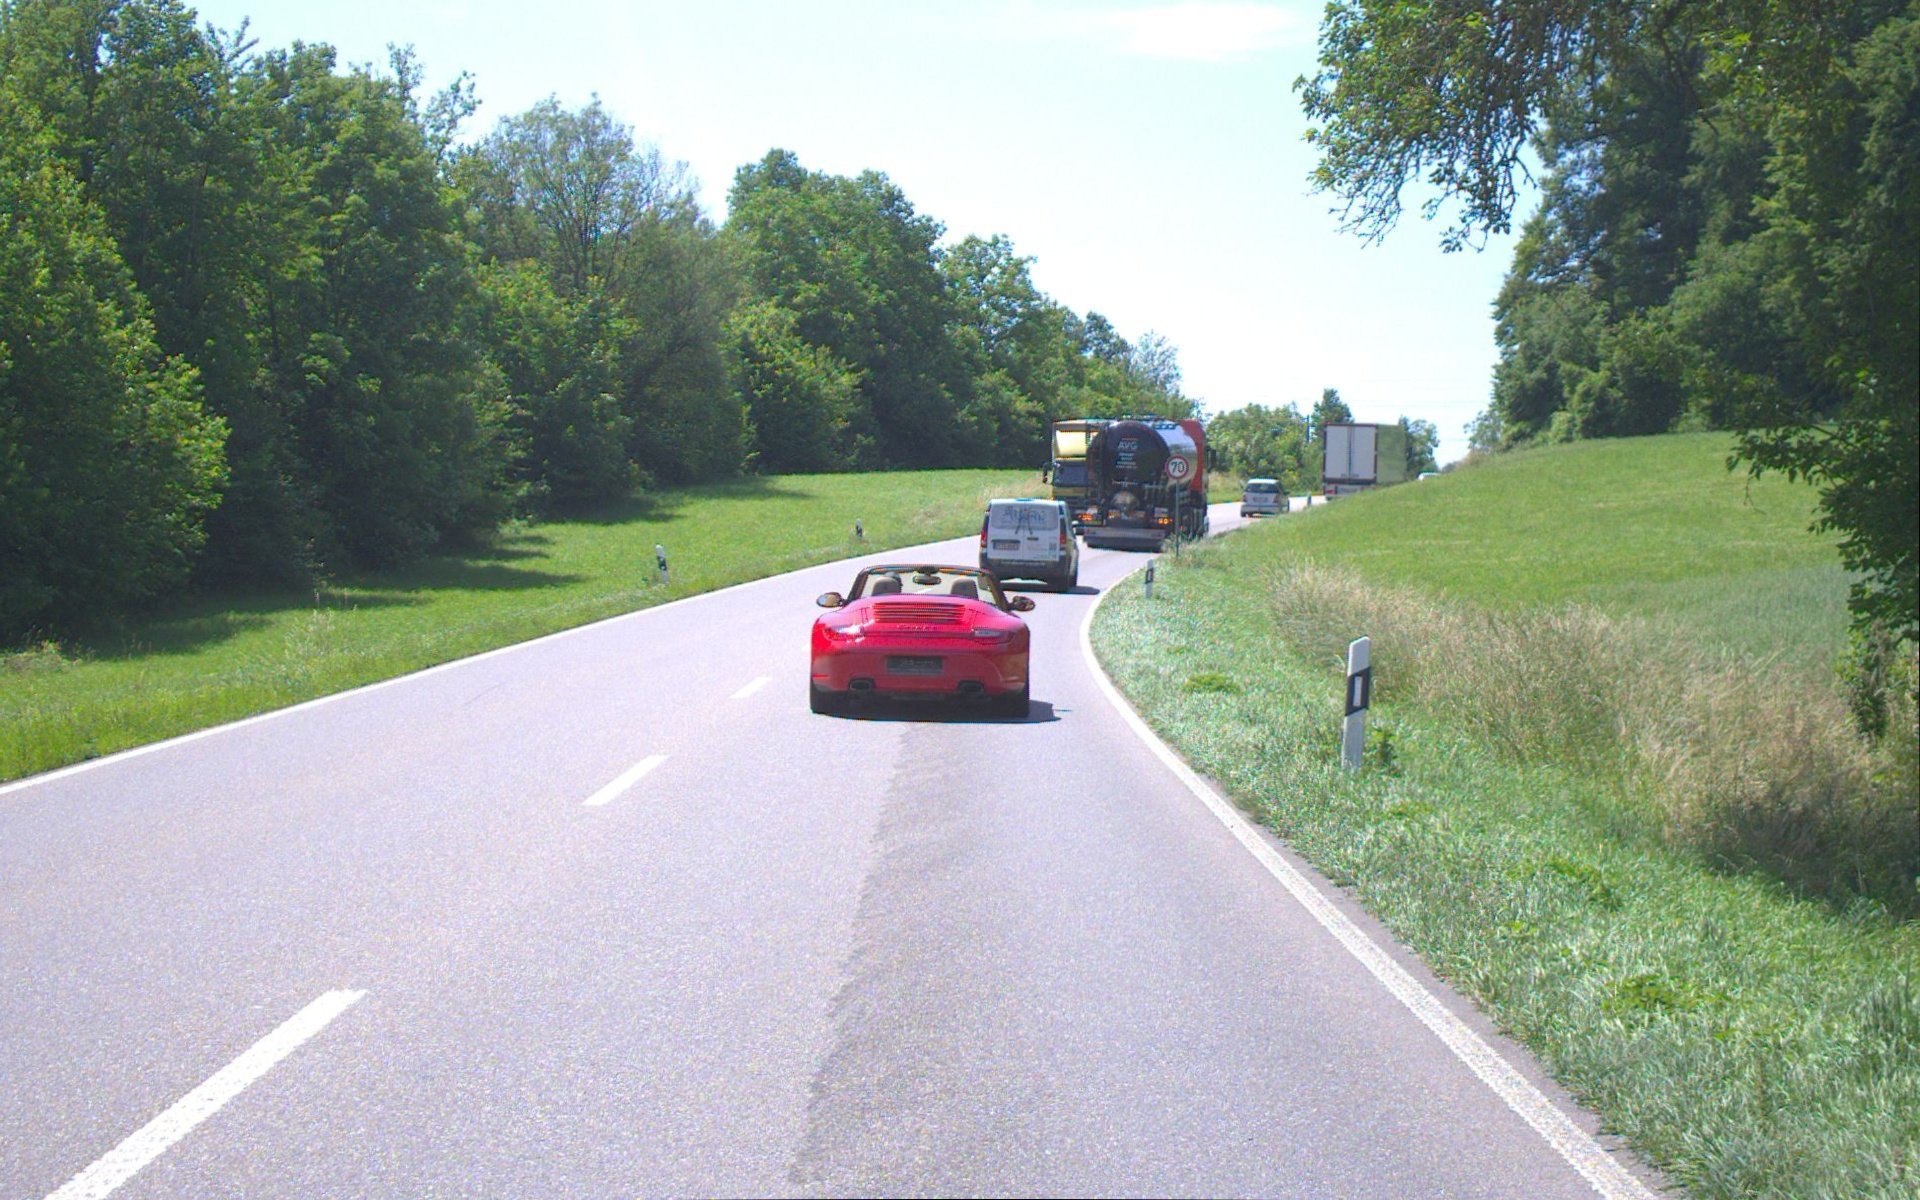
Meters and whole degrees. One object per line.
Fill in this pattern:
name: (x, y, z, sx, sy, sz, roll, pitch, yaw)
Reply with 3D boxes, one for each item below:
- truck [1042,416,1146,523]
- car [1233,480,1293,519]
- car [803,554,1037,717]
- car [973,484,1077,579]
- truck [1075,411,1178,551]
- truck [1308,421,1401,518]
truck: (4.912, -4.662, 124.202, 2.731, 3.678, 8.543, 2, 2, 9)
car: (12.358, -4.118, 139.996, 1.832, 1.508, 4.188, 1, 3, 14)
car: (-0.365, 0.260, 30.035, 1.882, 1.250, 4.010, 1, 1, -1)
car: (1.400, -1.423, 72.654, 1.679, 1.894, 4.008, 1, 0, 8)
truck: (5.238, -3.707, 106.196, 2.404, 4.035, 12.549, 1, 2, 6)
truck: (19.810, -6.545, 171.956, 3.727, 4.644, 12.026, 1, 3, 11)
